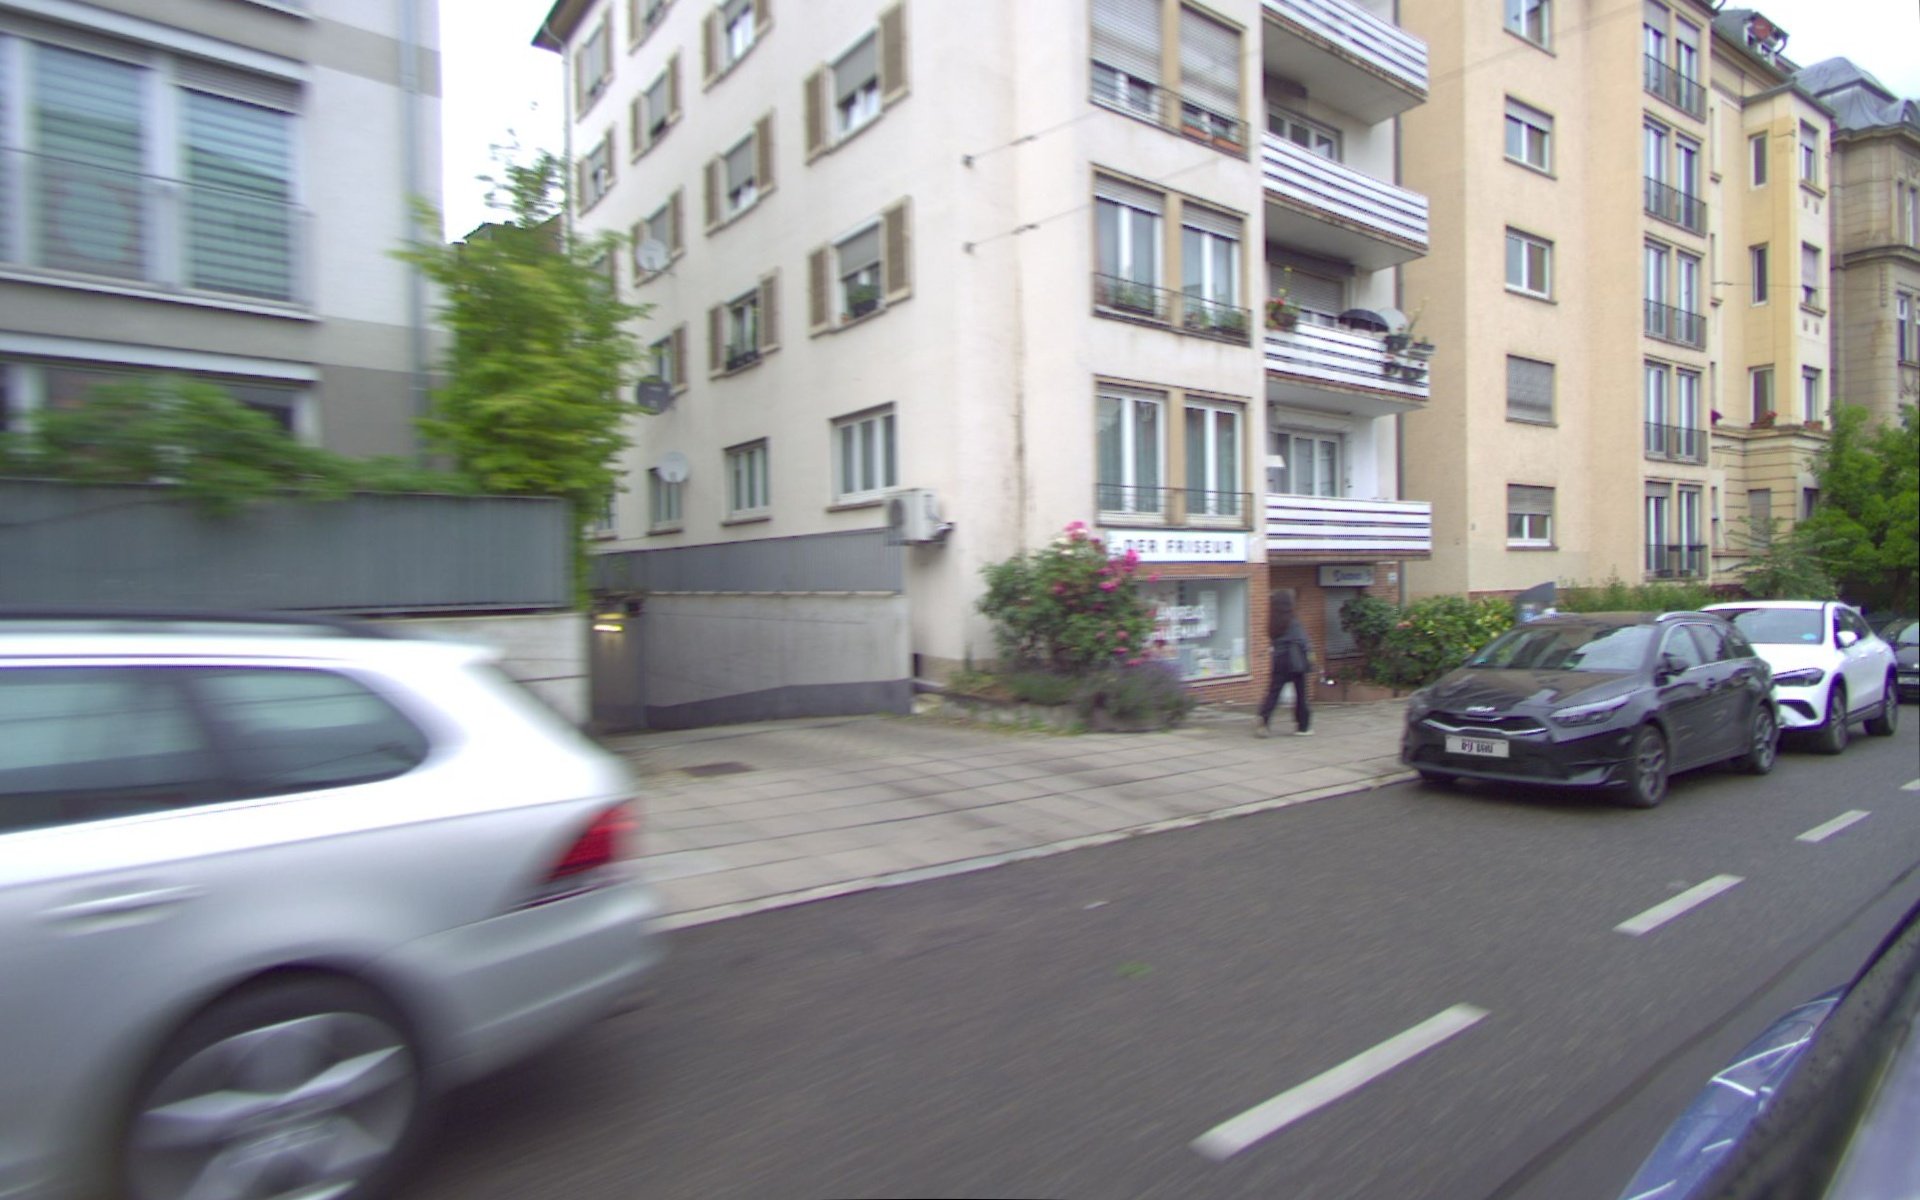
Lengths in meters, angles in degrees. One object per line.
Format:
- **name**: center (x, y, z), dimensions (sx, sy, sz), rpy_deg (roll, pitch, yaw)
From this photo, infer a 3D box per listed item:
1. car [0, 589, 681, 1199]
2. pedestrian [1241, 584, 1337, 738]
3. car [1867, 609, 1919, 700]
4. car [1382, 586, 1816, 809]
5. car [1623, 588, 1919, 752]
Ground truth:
- **car**: center (-3.046, 0.738, 2.192), dimensions (4.426, 1.490, 1.665), rpy_deg (0, -1, -39)
- **pedestrian**: center (3.558, 0.627, 10.936), dimensions (0.914, 1.561, 0.570), rpy_deg (1, 2, -45)
- **car**: center (17.236, 0.909, 17.422), dimensions (4.222, 1.455, 1.561), rpy_deg (1, -1, -36)
- **car**: center (5.813, 0.732, 9.006), dimensions (4.485, 1.532, 1.706), rpy_deg (1, -3, -36)
- **car**: center (9.627, 0.712, 11.873), dimensions (4.170, 1.593, 1.842), rpy_deg (1, -1, -38)
